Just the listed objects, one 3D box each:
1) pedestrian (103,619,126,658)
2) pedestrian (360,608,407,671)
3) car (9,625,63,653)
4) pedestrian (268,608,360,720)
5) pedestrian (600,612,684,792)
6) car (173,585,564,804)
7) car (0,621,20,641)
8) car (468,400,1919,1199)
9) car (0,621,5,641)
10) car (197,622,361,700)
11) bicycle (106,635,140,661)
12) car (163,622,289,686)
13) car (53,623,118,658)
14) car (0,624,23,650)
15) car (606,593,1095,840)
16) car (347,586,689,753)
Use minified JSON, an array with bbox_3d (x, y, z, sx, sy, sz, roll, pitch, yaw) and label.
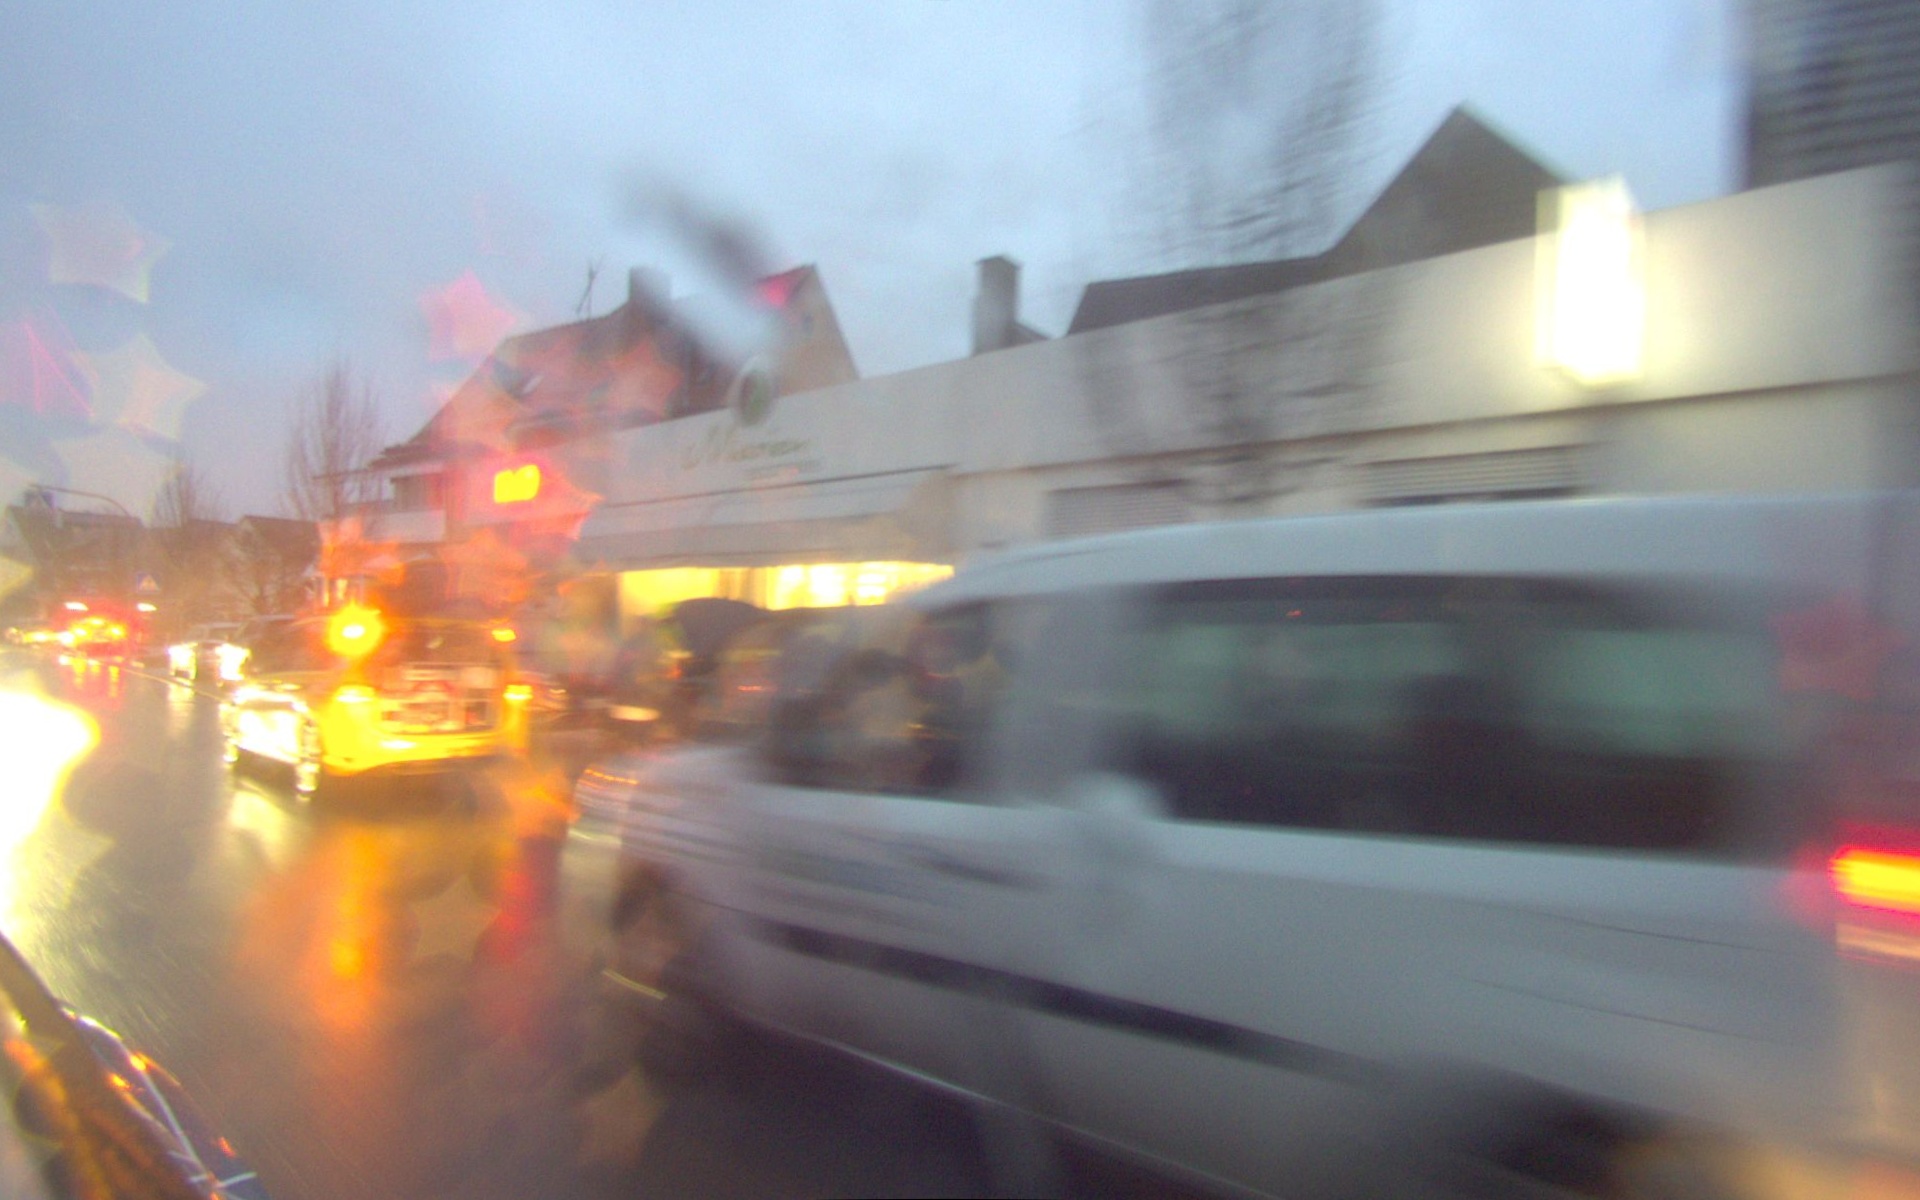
[{"bbox_3d":[-44.500,2.006,53.272,0.889,2.029,0.792,2,-2,-40],"label":"pedestrian"},{"bbox_3d":[-15.817,1.064,27.746,1.097,1.671,0.817,-1,-1,42],"label":"pedestrian"},{"bbox_3d":[-50.307,2.082,55.068,4.374,1.442,1.677,-1,-1,41],"label":"car"},{"bbox_3d":[-11.135,1.085,17.489,0.997,1.890,0.944,0,-1,-6],"label":"pedestrian"},{"bbox_3d":[-2.954,0.923,9.407,0.576,1.597,0.523,-3,-3,41],"label":"pedestrian"},{"bbox_3d":[-6.249,0.827,10.389,4.964,1.719,1.973,-3,-1,41],"label":"car"},{"bbox_3d":[-77.925,2.478,81.073,3.785,1.557,2.002,0,-1,-42],"label":"car"},{"bbox_3d":[0.517,0.654,3.187,4.408,1.559,1.933,-4,-5,37],"label":"car"},{"bbox_3d":[-80.402,2.546,82.207,3.936,1.559,2.004,0,-1,-39],"label":"car"},{"bbox_3d":[-15.315,1.278,22.644,4.978,1.534,1.971,-1,-2,43],"label":"car"},{"bbox_3d":[-34.587,1.987,41.793,1.735,1.069,0.322,-2,-7,27],"label":"bicycle"},{"bbox_3d":[-19.983,1.400,27.465,4.621,1.570,1.971,-1,-1,43],"label":"car"},{"bbox_3d":[-41.462,1.881,47.949,4.180,1.500,1.766,-1,-1,41],"label":"car"},{"bbox_3d":[-60.244,2.309,63.363,4.136,1.546,1.817,-1,-1,41],"label":"car"},{"bbox_3d":[-1.231,0.844,9.352,4.711,1.723,1.860,-1,-1,42],"label":"car"},{"bbox_3d":[-5.955,0.817,13.354,5.018,1.806,2.065,-2,-2,39],"label":"car"}]
